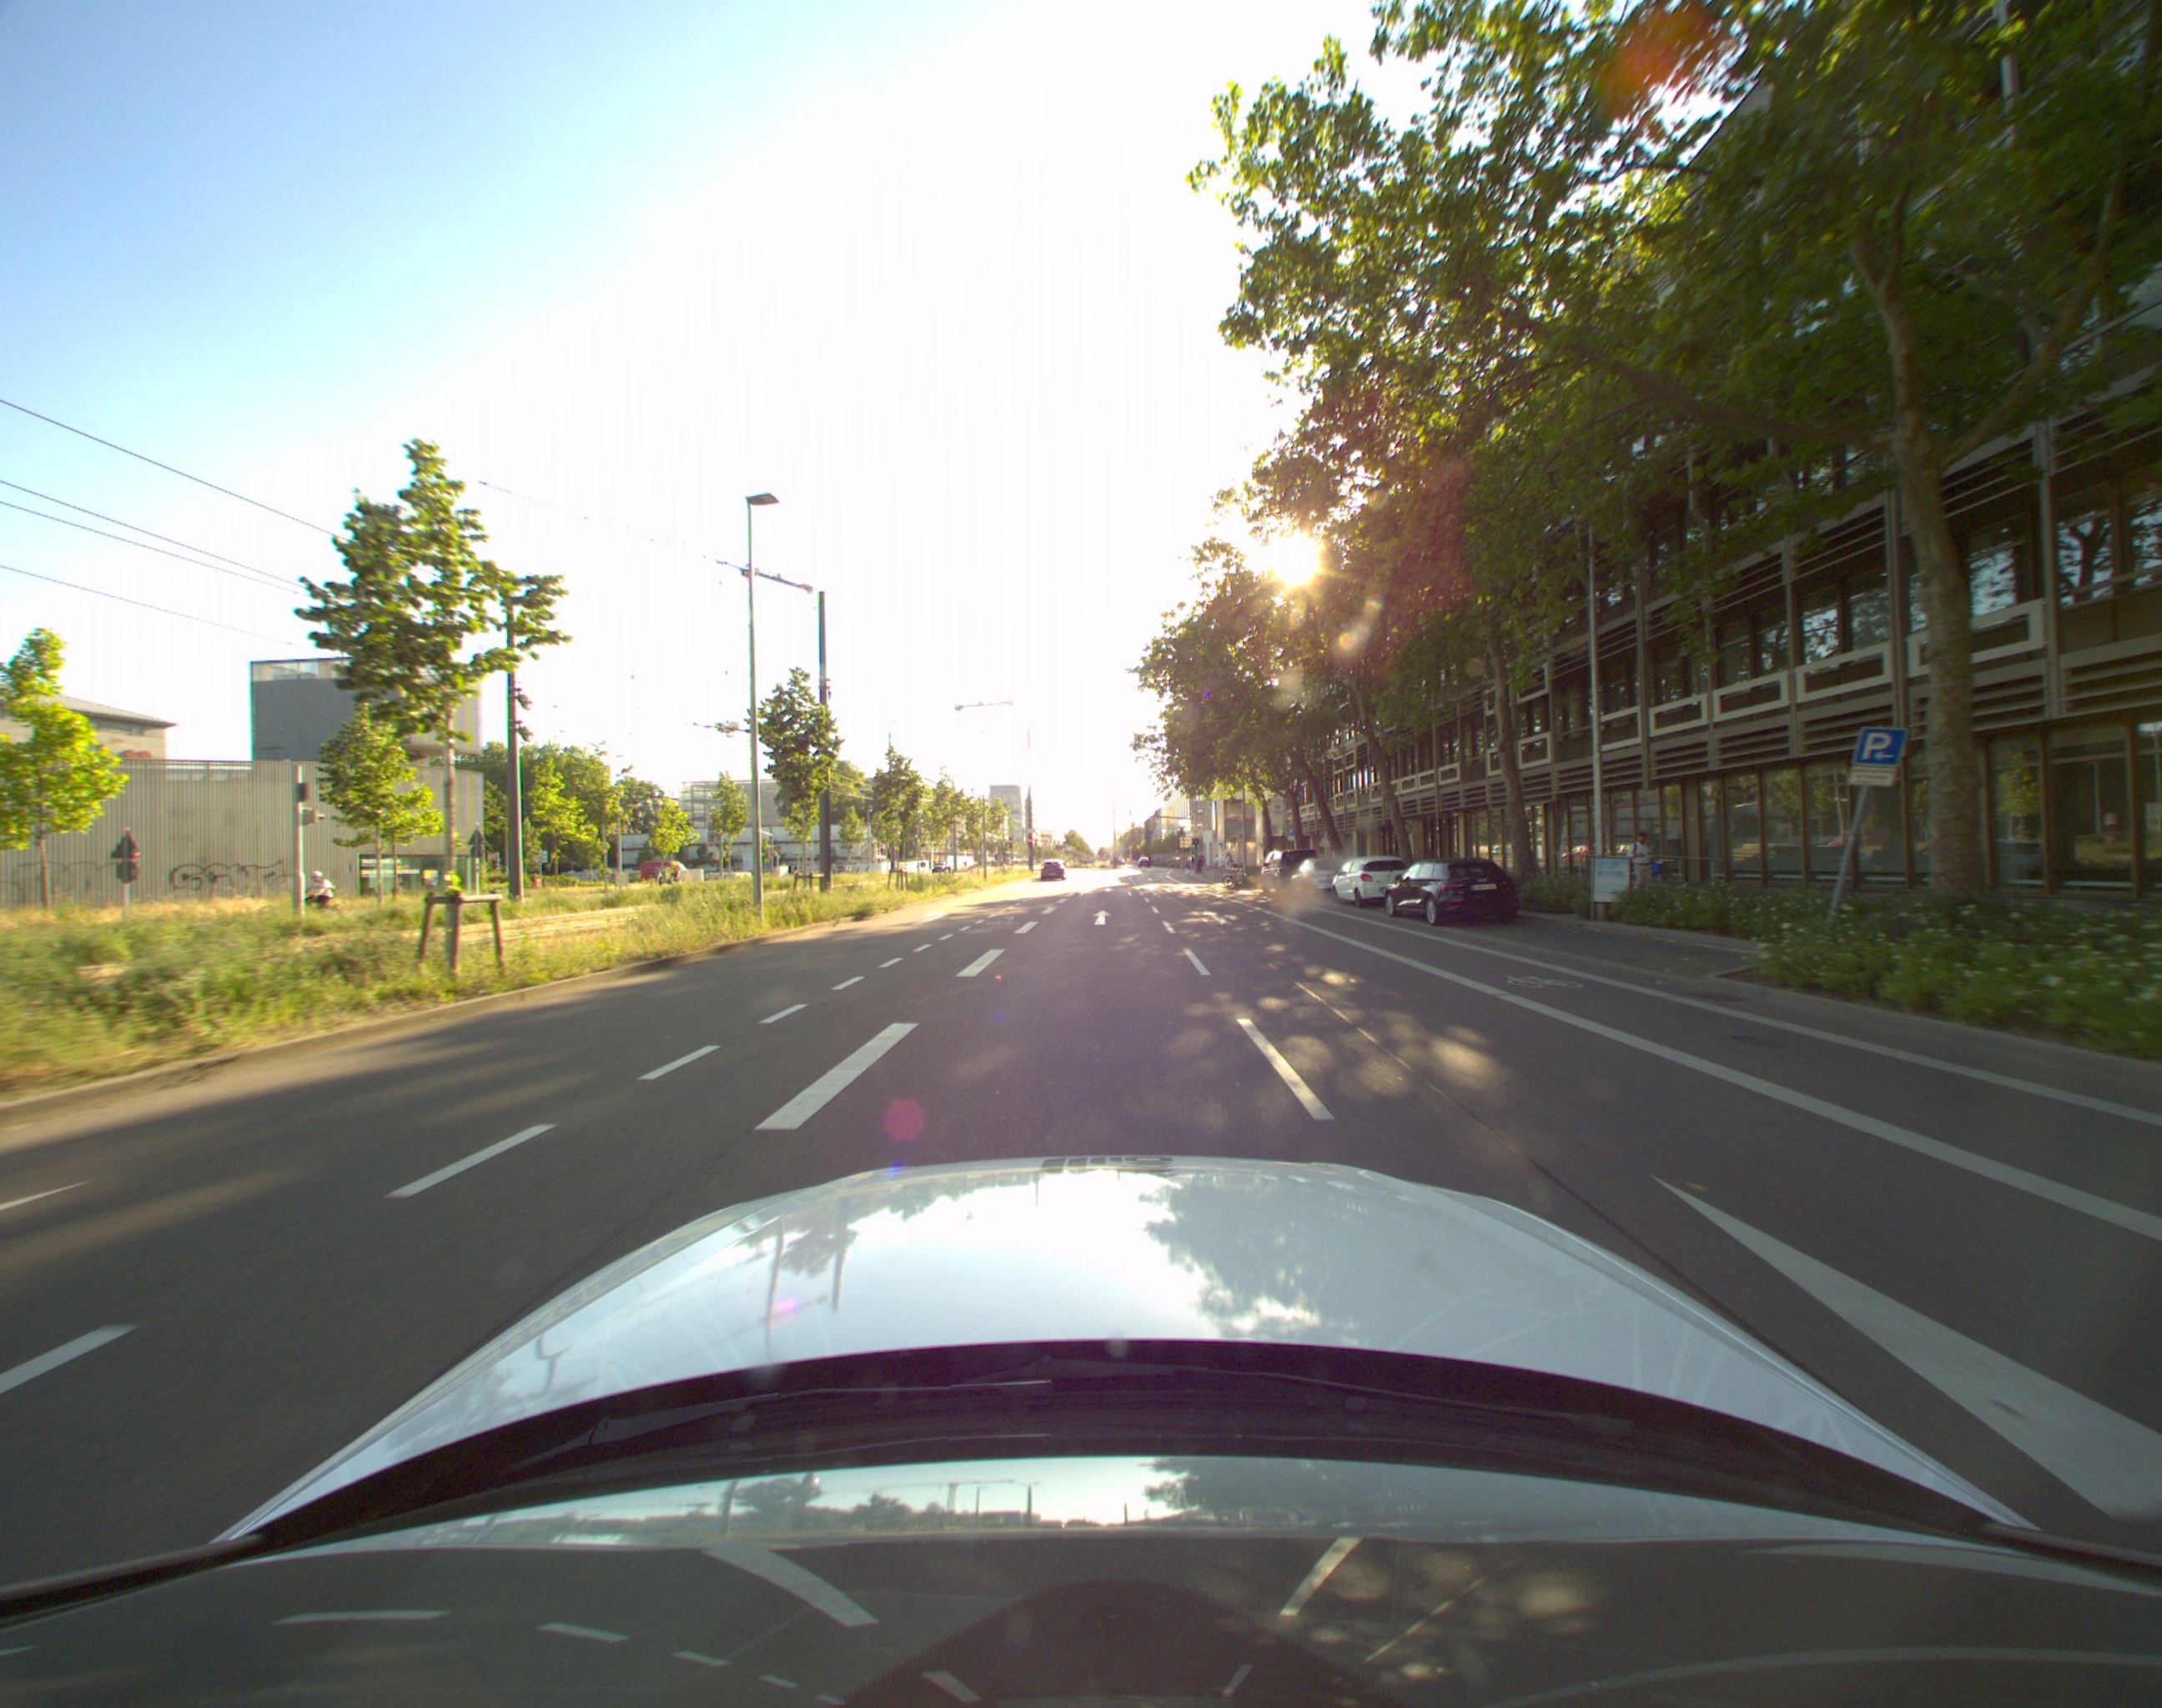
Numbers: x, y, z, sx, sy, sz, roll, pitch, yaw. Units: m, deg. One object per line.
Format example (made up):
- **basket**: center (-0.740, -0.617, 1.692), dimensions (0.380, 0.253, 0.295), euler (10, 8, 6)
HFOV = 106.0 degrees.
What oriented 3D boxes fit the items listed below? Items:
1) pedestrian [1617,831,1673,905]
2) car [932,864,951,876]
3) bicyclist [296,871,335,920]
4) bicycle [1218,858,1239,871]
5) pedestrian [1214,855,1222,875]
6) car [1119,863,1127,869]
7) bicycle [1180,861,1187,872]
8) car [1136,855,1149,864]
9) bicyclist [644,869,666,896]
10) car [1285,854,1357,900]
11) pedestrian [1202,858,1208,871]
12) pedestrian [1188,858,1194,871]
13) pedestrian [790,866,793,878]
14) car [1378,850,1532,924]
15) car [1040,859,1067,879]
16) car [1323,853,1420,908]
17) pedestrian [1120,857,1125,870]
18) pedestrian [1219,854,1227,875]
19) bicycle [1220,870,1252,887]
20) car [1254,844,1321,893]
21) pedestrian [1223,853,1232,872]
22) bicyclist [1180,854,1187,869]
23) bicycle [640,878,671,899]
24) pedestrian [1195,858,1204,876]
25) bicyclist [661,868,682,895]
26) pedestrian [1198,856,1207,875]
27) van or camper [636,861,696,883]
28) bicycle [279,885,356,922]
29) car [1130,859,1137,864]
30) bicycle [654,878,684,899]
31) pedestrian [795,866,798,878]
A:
- **pedestrian**: center (14.555, 0.367, 21.047), dimensions (0.828, 1.856, 0.847), euler (-1, -1, 1)
- **car**: center (-21.092, 2.389, 123.373), dimensions (1.986, 1.776, 4.002), euler (-1, 0, 2)
- **bicyclist**: center (-23.768, 1.279, 25.279), dimensions (0.554, 1.507, 0.668), euler (-1, -1, 2)
- **bicycle**: center (13.293, 0.976, 73.402), dimensions (1.796, 1.086, 0.479), euler (-3, -1, 3)
- **pedestrian**: center (14.523, 1.174, 86.381), dimensions (0.762, 2.060, 0.799), euler (-3, -1, 8)
- **car**: center (10.417, 2.984, 201.462), dimensions (1.753, 1.485, 3.849), euler (-1, 0, 0)
- **bicycle**: center (11.549, 1.350, 91.726), dimensions (0.795, 1.204, 2.269), euler (-1, 0, 8)
- **car**: center (10.870, 0.972, 143.489), dimensions (1.934, 1.428, 3.925), euler (-1, 0, 0)
- **bicyclist**: center (-23.766, 1.593, 45.462), dimensions (0.581, 1.442, 1.076), euler (-1, -1, 2)
- **car**: center (8.949, 0.795, 30.769), dimensions (1.673, 1.514, 5.067), euler (-3, 0, 6)
- **pedestrian**: center (16.990, 1.402, 111.704), dimensions (0.813, 1.734, 0.791), euler (-1, -1, 5)
- **pedestrian**: center (15.094, 1.470, 111.704), dimensions (0.813, 1.734, 0.791), euler (-1, -1, 5)
- **pedestrian**: center (-35.648, 2.238, 100.260), dimensions (0.273, 1.465, 0.279), euler (-1, -1, -3)
- **car**: center (8.432, 0.679, 18.818), dimensions (1.699, 1.418, 4.279), euler (-3, 0, 2)
- **car**: center (-1.947, 1.072, 59.170), dimensions (1.771, 1.428, 4.000), euler (0, 0, 0)
- **car**: center (8.827, 0.761, 25.058), dimensions (1.675, 1.478, 3.876), euler (-3, 0, 2)
- **pedestrian**: center (5.666, 1.277, 111.118), dimensions (0.492, 1.743, 0.446), euler (-1, -1, -8)
- **pedestrian**: center (14.921, 1.102, 85.509), dimensions (0.762, 2.060, 0.799), euler (-3, -1, 8)
- **bicycle**: center (8.578, 1.365, 45.054), dimensions (1.681, 0.867, 0.574), euler (-3, -1, 10)
- **car**: center (9.286, 0.633, 37.083), dimensions (1.822, 1.971, 5.324), euler (-3, 0, 2)
- **pedestrian**: center (13.016, 0.752, 72.369), dimensions (0.631, 1.703, 0.570), euler (-3, -1, 2)
- **bicyclist**: center (11.556, 0.851, 91.793), dimensions (0.795, 1.602, 0.787), euler (-1, -1, 8)
- **bicycle**: center (-23.745, 1.895, 45.498), dimensions (0.581, 1.105, 1.989), euler (-1, 0, 3)
- **pedestrian**: center (10.797, 1.152, 74.088), dimensions (0.631, 1.608, 0.570), euler (-3, -1, 2)
- **bicyclist**: center (-22.937, 1.527, 45.657), dimensions (0.581, 1.442, 1.076), euler (-1, -1, 2)
- **pedestrian**: center (11.158, 1.051, 74.696), dimensions (0.631, 1.703, 0.570), euler (-3, -1, 2)
- **van or camper**: center (-46.631, 2.019, 91.658), dimensions (5.636, 2.414, 2.157), euler (-1, 0, 3)
- **bicycle**: center (-23.766, 1.519, 25.391), dimensions (0.556, 1.060, 1.899), euler (-1, 0, 2)
- **car**: center (15.527, 2.330, 240.495), dimensions (1.698, 1.428, 3.925), euler (-1, 0, 0)
- **bicycle**: center (-22.938, 1.927, 45.418), dimensions (0.581, 1.105, 1.989), euler (-1, 0, 3)
- **pedestrian**: center (-35.073, 2.251, 100.490), dimensions (0.274, 1.465, 0.314), euler (-1, -1, -16)
